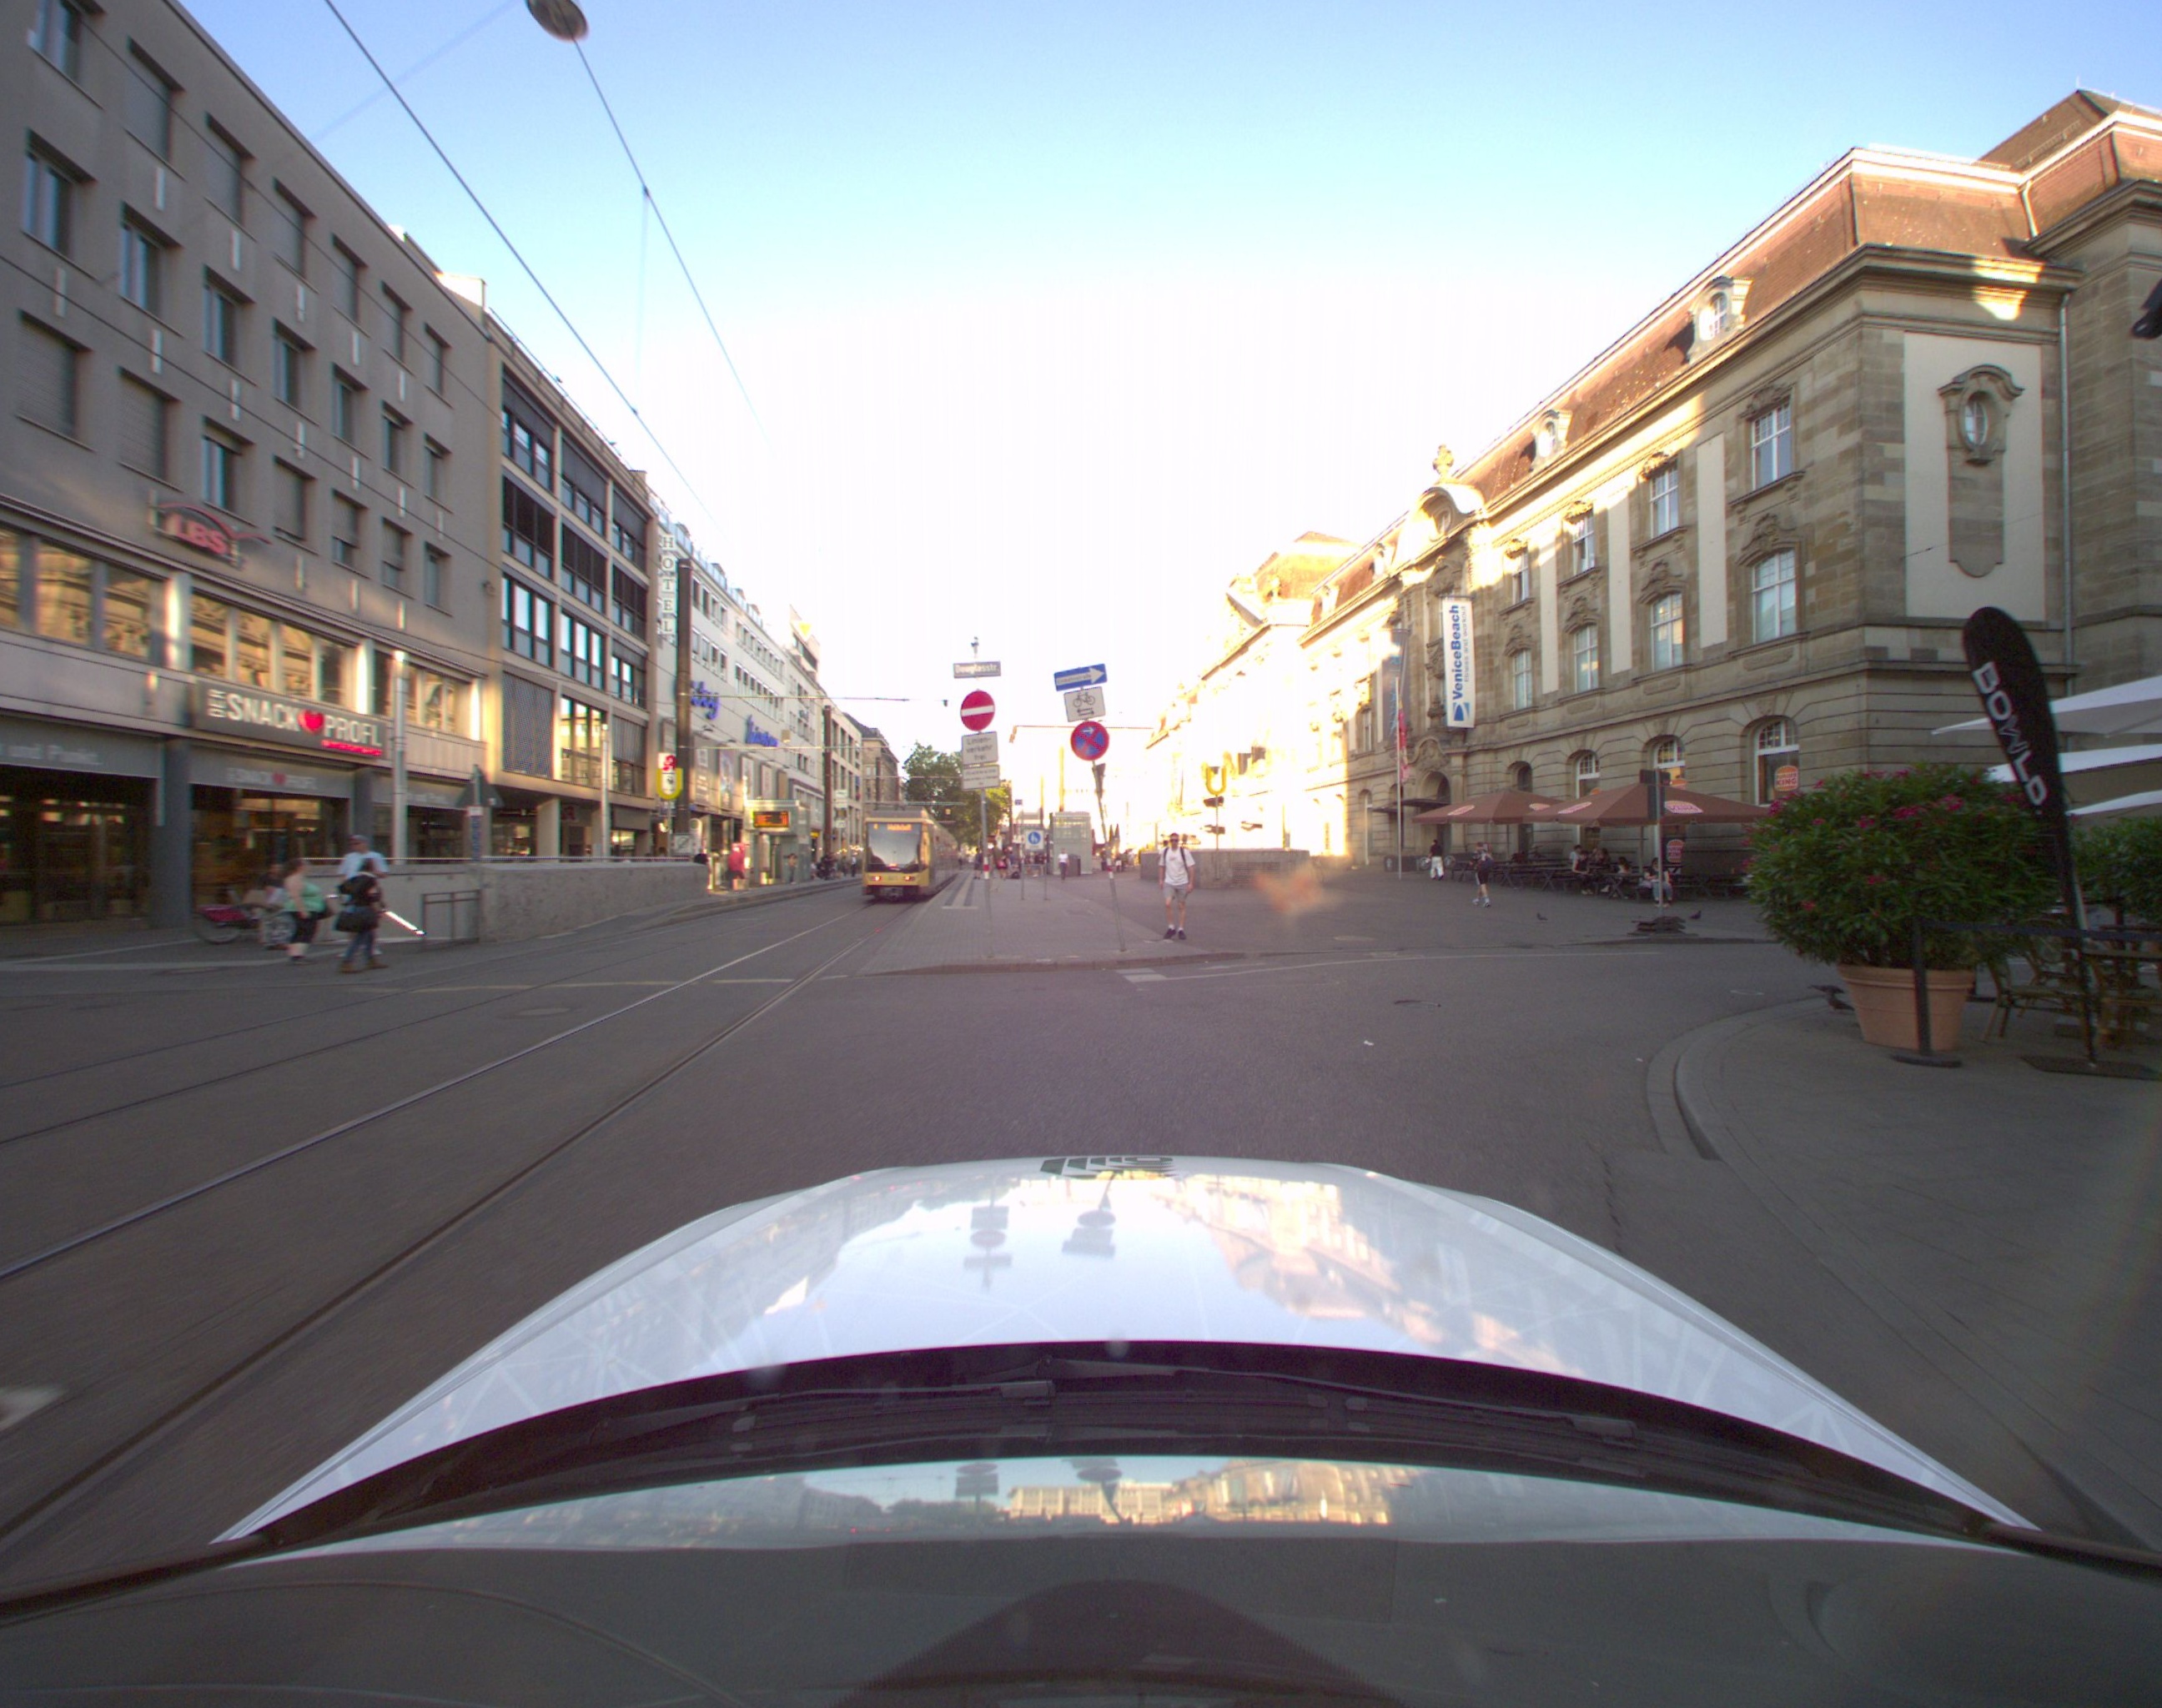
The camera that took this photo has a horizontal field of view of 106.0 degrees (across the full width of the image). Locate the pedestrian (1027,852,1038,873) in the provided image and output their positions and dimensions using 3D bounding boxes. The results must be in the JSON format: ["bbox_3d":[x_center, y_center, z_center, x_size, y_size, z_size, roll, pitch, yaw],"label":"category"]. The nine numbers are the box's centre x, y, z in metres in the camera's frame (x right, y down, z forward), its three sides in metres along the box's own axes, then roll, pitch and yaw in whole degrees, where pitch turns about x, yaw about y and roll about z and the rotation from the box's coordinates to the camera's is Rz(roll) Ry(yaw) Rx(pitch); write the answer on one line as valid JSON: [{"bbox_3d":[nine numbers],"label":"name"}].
[{"bbox_3d":[-3.955,0.688,66.900,0.788,1.661,0.770,0,0,5],"label":"pedestrian"}]

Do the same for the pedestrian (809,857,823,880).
[{"bbox_3d":[-16.721,0.915,51.444,0.707,1.379,0.718,-1,-1,-8],"label":"pedestrian"}]

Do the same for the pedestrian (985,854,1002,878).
[{"bbox_3d":[-5.657,0.774,52.743,0.760,1.579,0.799,-1,0,22],"label":"pedestrian"}]

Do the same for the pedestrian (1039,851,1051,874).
[{"bbox_3d":[-2.636,0.615,59.370,0.788,1.661,0.770,0,0,5],"label":"pedestrian"}]

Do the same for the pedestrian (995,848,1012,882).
[{"bbox_3d":[-4.327,0.609,45.489,0.736,1.823,0.814,0,0,-21],"label":"pedestrian"}]

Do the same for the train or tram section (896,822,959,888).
[{"bbox_3d":[-8.948,0.054,48.965,2.798,3.319,14.472,-1,0,-7],"label":"train or tram section"}]

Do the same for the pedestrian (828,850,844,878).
[{"bbox_3d":[-14.981,0.615,49.723,0.712,1.725,0.767,0,-2,-36],"label":"pedestrian"}]

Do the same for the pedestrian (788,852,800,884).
[{"bbox_3d":[-14.771,0.720,41.911,0.512,1.617,0.502,-1,-1,-16],"label":"pedestrian"}]

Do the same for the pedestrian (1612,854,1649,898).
[{"bbox_3d":[16.056,0.642,23.808,0.612,1.226,0.702,1,2,7],"label":"pedestrian"}]

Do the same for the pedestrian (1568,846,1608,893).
[{"bbox_3d":[15.580,0.463,25.028,0.800,1.382,0.654,0,2,3],"label":"pedestrian"}]

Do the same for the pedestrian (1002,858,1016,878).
[{"bbox_3d":[-4.578,0.867,51.530,0.792,1.221,0.766,0,0,-11],"label":"pedestrian"}]

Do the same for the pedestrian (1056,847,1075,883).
[{"bbox_3d":[-0.796,0.575,42.097,0.773,1.823,0.936,-2,0,-10],"label":"pedestrian"}]

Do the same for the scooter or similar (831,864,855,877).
[{"bbox_3d":[-16.074,1.110,55.034,0.552,0.831,1.535,-2,-1,32],"label":"scooter or similar"}]

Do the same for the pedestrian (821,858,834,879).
[{"bbox_3d":[-17.034,0.947,54.722,0.707,1.379,0.718,-1,-1,-8],"label":"pedestrian"}]

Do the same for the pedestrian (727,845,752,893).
[{"bbox_3d":[-12.535,0.548,29.903,0.714,1.698,0.782,-1,-1,-13],"label":"pedestrian"}]

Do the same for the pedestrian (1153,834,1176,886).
[{"bbox_3d":[3.250,0.239,31.742,0.764,2.014,0.921,0,-1,15],"label":"pedestrian"}]

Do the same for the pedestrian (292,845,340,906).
[{"bbox_3d":[-22.242,0.622,23.690,0.713,1.725,0.707,-1,-1,-9],"label":"pedestrian"}]

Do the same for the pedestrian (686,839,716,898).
[{"bbox_3d":[-12.525,0.477,26.852,0.714,1.925,0.706,-1,-1,-12],"label":"pedestrian"}]

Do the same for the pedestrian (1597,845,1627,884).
[{"bbox_3d":[18.090,0.352,27.747,0.607,1.308,0.606,0,2,-12],"label":"pedestrian"}]

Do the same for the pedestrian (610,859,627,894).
[{"bbox_3d":[-20.396,0.991,35.907,0.509,1.547,0.515,-1,-1,-15],"label":"pedestrian"}]

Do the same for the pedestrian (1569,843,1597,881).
[{"bbox_3d":[17.817,0.272,28.889,0.592,1.308,0.580,0,2,-12],"label":"pedestrian"}]

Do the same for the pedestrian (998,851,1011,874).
[{"bbox_3d":[-5.523,0.607,58.851,0.788,1.661,0.770,0,0,5],"label":"pedestrian"}]

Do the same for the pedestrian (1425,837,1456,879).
[{"bbox_3d":[13.852,0.141,31.412,0.843,1.565,0.851,0,1,4],"label":"pedestrian"}]

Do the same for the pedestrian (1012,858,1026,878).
[{"bbox_3d":[-3.887,0.861,50.811,0.792,1.221,0.766,0,0,-11],"label":"pedestrian"}]

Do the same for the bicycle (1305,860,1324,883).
[{"bbox_3d":[9.159,0.674,31.927,0.315,0.867,0.997,-2,0,-8],"label":"bicycle"}]

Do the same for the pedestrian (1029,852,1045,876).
[{"bbox_3d":[-3.049,0.692,56.376,0.785,1.661,0.774,-1,0,42],"label":"pedestrian"}]

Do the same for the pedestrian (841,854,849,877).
[{"bbox_3d":[-18.113,0.906,62.480,0.601,1.727,0.605,-1,-1,-14],"label":"pedestrian"}]

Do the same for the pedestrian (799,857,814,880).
[{"bbox_3d":[-16.635,0.895,49.342,0.707,1.379,0.718,-1,-1,-8],"label":"pedestrian"}]

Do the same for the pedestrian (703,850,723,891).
[{"bbox_3d":[-14.563,0.665,32.247,0.604,1.588,0.624,0,-1,-17],"label":"pedestrian"}]

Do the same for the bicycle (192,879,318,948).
[{"bbox_3d":[-15.174,1.061,15.027,0.497,1.107,1.799,-1,1,-2],"label":"bicycle"}]

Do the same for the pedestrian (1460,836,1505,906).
[{"bbox_3d":[10.762,0.438,21.852,0.806,1.823,0.805,-1,1,-3],"label":"pedestrian"}]

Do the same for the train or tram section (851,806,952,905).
[{"bbox_3d":[-7.192,0.044,34.620,2.798,3.319,14.472,-1,0,-7],"label":"train or tram section"}]

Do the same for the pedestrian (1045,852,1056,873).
[{"bbox_3d":[-2.343,0.652,63.045,0.788,1.661,0.770,0,0,5],"label":"pedestrian"}]

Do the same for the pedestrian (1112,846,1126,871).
[{"bbox_3d":[2.809,0.355,60.730,0.849,1.823,0.771,-1,0,-16],"label":"pedestrian"}]

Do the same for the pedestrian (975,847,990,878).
[{"bbox_3d":[-5.919,0.518,48.928,0.736,1.823,0.814,0,0,-21],"label":"pedestrian"}]

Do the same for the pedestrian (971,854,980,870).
[{"bbox_3d":[-11.155,0.873,86.184,0.764,1.661,0.795,0,0,2],"label":"pedestrian"}]

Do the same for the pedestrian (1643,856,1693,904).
[{"bbox_3d":[16.038,0.703,22.270,0.774,1.242,0.830,1,2,7],"label":"pedestrian"}]

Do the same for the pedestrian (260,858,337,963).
[{"bbox_3d":[-11.477,0.808,11.966,0.604,1.494,0.552,-1,-1,-15],"label":"pedestrian"}]

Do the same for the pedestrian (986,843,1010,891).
[{"bbox_3d":[-3.097,0.485,30.260,0.720,1.725,0.704,0,-1,-20],"label":"pedestrian"}]

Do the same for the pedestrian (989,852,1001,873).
[{"bbox_3d":[-6.718,0.652,63.515,0.788,1.661,0.770,0,0,5],"label":"pedestrian"}]

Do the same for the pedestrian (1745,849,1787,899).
[{"bbox_3d":[19.055,0.543,22.670,0.657,1.308,0.777,-1,3,18],"label":"pedestrian"}]

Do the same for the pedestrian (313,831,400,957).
[{"bbox_3d":[-11.462,0.621,12.913,0.774,1.926,0.706,-1,-1,-15],"label":"pedestrian"}]

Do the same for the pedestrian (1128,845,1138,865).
[{"bbox_3d":[5.044,0.098,78.519,0.773,1.825,0.847,-1,0,-10],"label":"pedestrian"}]

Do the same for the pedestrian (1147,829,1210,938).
[{"bbox_3d":[1.703,0.511,14.411,1.010,1.863,1.042,0,-1,0],"label":"pedestrian"}]

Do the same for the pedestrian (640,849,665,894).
[{"bbox_3d":[-15.350,0.640,29.159,0.597,1.588,0.632,-2,-2,41],"label":"pedestrian"}]

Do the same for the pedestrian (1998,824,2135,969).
[{"bbox_3d":[13.110,0.547,10.855,0.803,1.839,0.872,1,0,-7],"label":"pedestrian"}]

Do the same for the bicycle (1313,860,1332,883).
[{"bbox_3d":[9.481,0.674,31.972,0.315,0.867,0.997,-2,0,-8],"label":"bicycle"}]

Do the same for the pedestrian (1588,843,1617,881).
[{"bbox_3d":[18.486,0.286,28.867,0.592,1.308,0.580,0,2,-9],"label":"pedestrian"}]

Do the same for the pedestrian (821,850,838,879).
[{"bbox_3d":[-14.818,0.621,47.925,0.713,1.725,0.766,0,-2,-38],"label":"pedestrian"}]

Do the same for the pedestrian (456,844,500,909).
[{"bbox_3d":[-16.577,0.611,22.389,0.713,1.725,0.707,-1,-1,-9],"label":"pedestrian"}]

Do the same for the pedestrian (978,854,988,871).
[{"bbox_3d":[-9.725,0.818,80.805,0.788,1.661,0.770,0,0,5],"label":"pedestrian"}]

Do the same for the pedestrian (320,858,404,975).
[{"bbox_3d":[-9.904,0.839,11.244,0.686,1.542,0.601,0,-1,-21],"label":"pedestrian"}]

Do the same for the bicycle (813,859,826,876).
[{"bbox_3d":[-17.226,0.887,53.576,0.436,1.142,1.602,0,0,-31],"label":"bicycle"}]

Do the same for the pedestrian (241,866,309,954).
[{"bbox_3d":[-13.539,0.921,13.691,0.548,1.434,0.689,-2,-1,31],"label":"pedestrian"}]

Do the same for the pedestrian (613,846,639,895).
[{"bbox_3d":[-16.188,0.580,29.001,0.597,1.725,0.632,-2,-2,39],"label":"pedestrian"}]

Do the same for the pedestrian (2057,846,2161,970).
[{"bbox_3d":[13.924,0.690,10.864,0.803,1.581,0.872,1,0,-7],"label":"pedestrian"}]

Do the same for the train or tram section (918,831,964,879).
[{"bbox_3d":[-10.715,0.067,63.339,2.798,3.319,14.472,-1,0,-7],"label":"train or tram section"}]

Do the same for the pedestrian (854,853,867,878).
[{"bbox_3d":[-15.485,0.835,57.158,0.772,1.725,0.707,-1,-1,-7],"label":"pedestrian"}]

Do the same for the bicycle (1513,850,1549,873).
[{"bbox_3d":[18.263,0.304,33.062,1.318,0.894,0.409,-1,1,-12],"label":"bicycle"}]
